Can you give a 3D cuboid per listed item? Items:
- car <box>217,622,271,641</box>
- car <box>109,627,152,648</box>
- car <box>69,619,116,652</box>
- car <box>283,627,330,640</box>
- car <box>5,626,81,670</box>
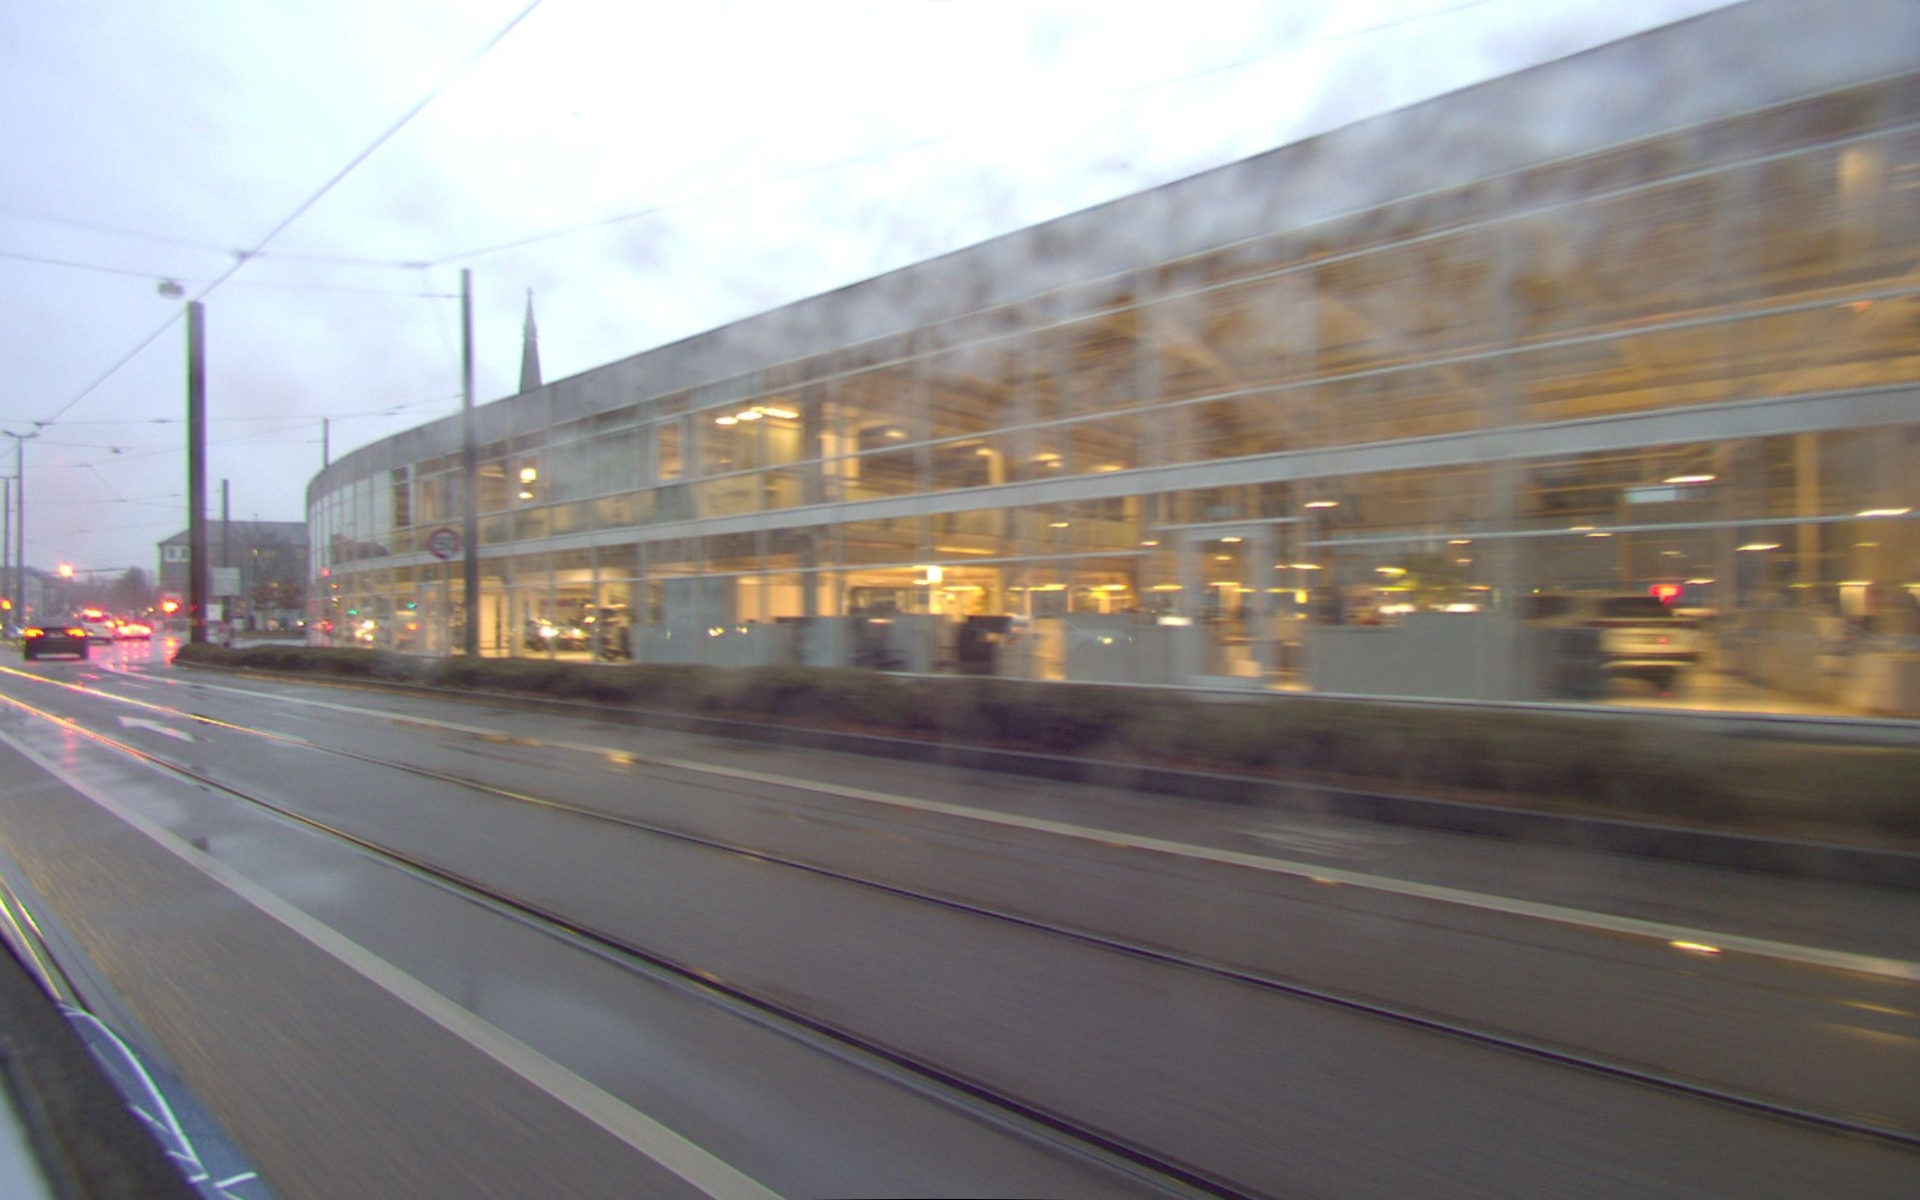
[{"bbox_3d":[-85.147,3.771,120.468,1.977,2.029,5.538,-1,0,9],"label":"car"},{"bbox_3d":[-61.977,2.779,75.593,4.589,1.432,1.971,-1,-1,44],"label":"car"},{"bbox_3d":[-56.886,2.275,66.308,4.687,2.029,1.971,-1,0,45],"label":"car"},{"bbox_3d":[-71.563,3.638,110.882,3.949,1.320,1.997,-1,0,5],"label":"car"},{"bbox_3d":[-35.873,1.817,39.561,4.442,1.590,1.821,-1,-1,43],"label":"car"}]
